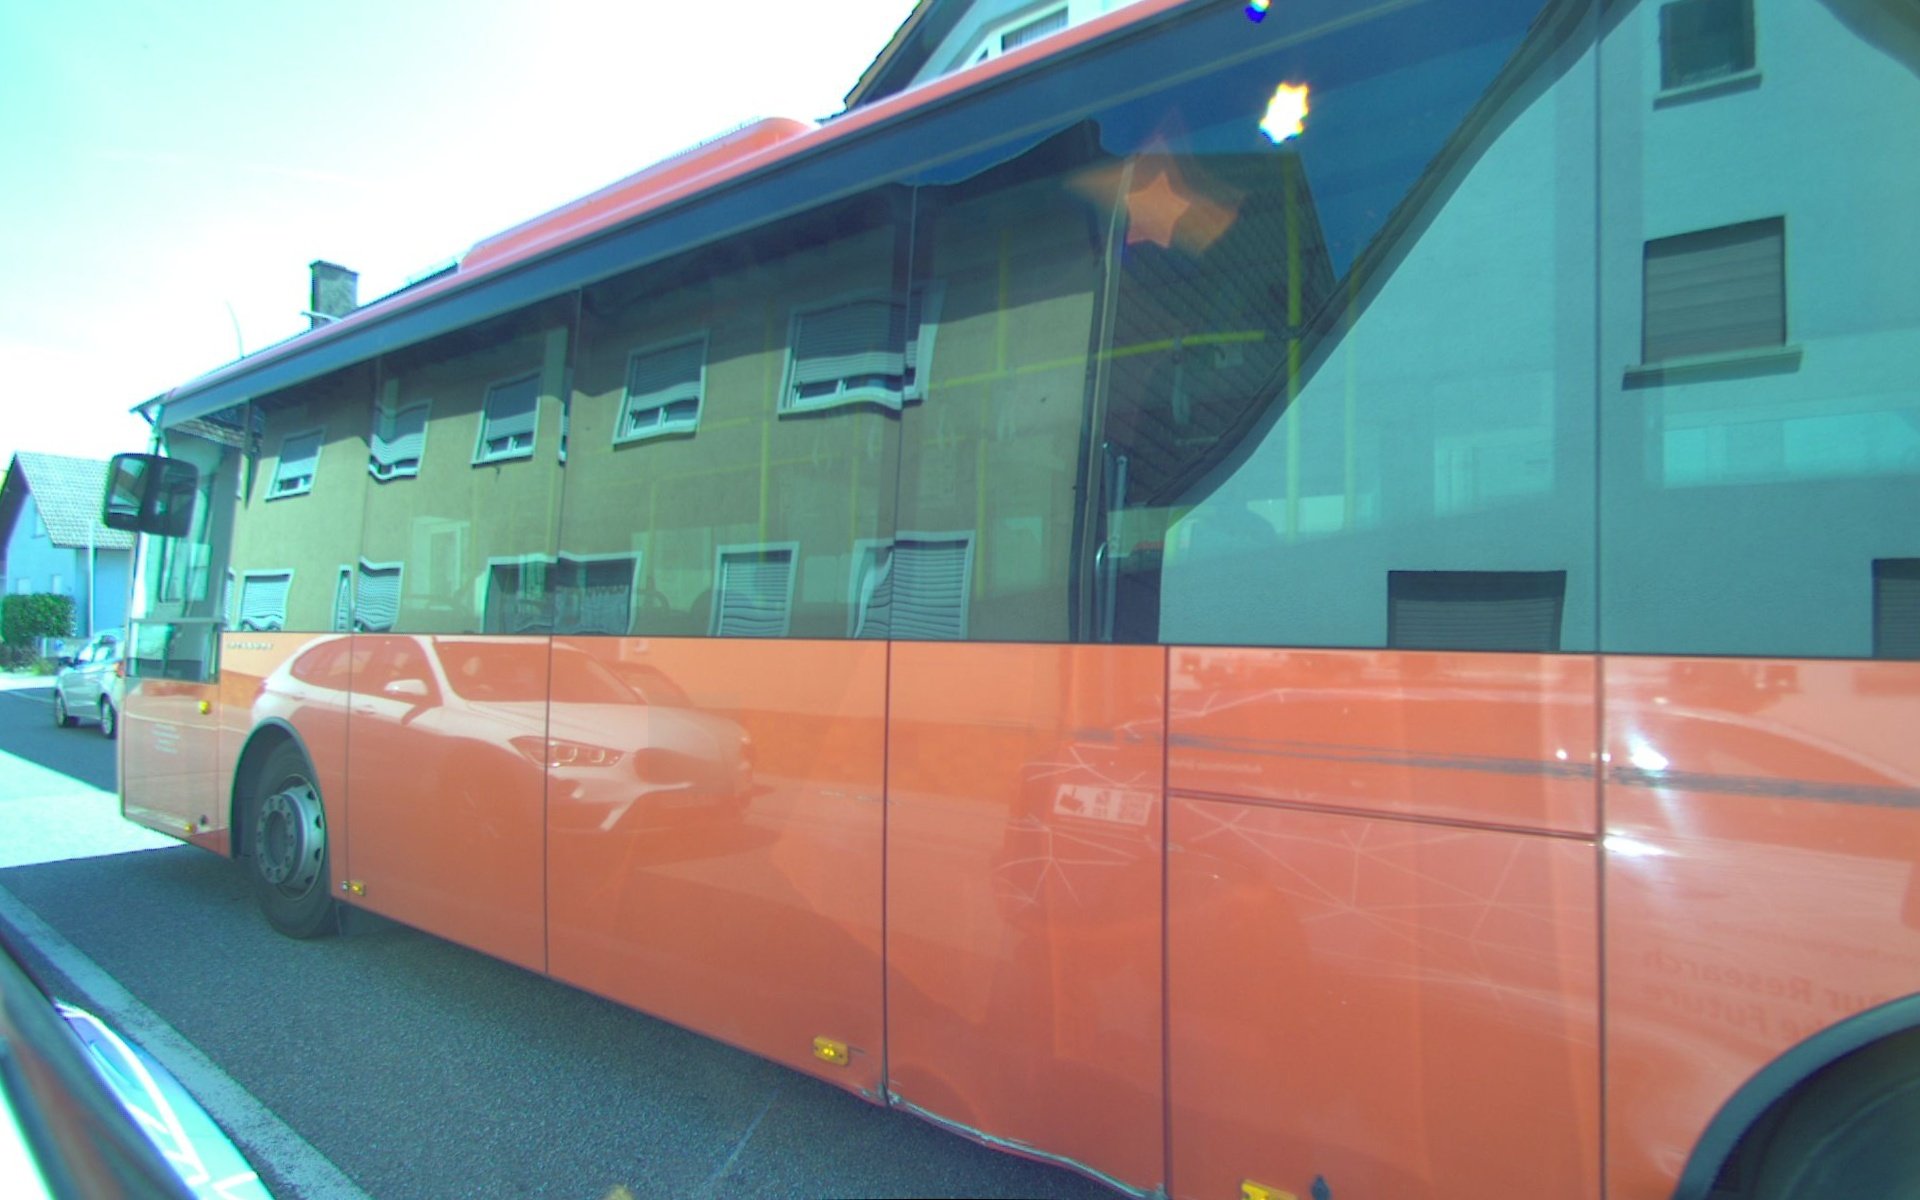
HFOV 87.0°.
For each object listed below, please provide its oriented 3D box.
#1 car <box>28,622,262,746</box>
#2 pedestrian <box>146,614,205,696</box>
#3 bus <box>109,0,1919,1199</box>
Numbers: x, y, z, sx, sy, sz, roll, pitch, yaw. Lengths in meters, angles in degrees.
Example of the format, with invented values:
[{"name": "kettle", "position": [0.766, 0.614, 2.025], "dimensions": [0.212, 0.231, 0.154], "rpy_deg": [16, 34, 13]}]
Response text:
[{"name": "car", "position": [-12.309, 1.154, 15.218], "dimensions": [3.992, 1.527, 1.729], "rpy_deg": [-1, 2, 36]}, {"name": "pedestrian", "position": [-15.862, 1.087, 20.467], "dimensions": [0.956, 1.595, 0.748], "rpy_deg": [-1, 0, 39]}, {"name": "bus", "position": [0.583, -0.088, 3.520], "dimensions": [12.000, 3.257, 2.602], "rpy_deg": [-1, -4, 37]}]
